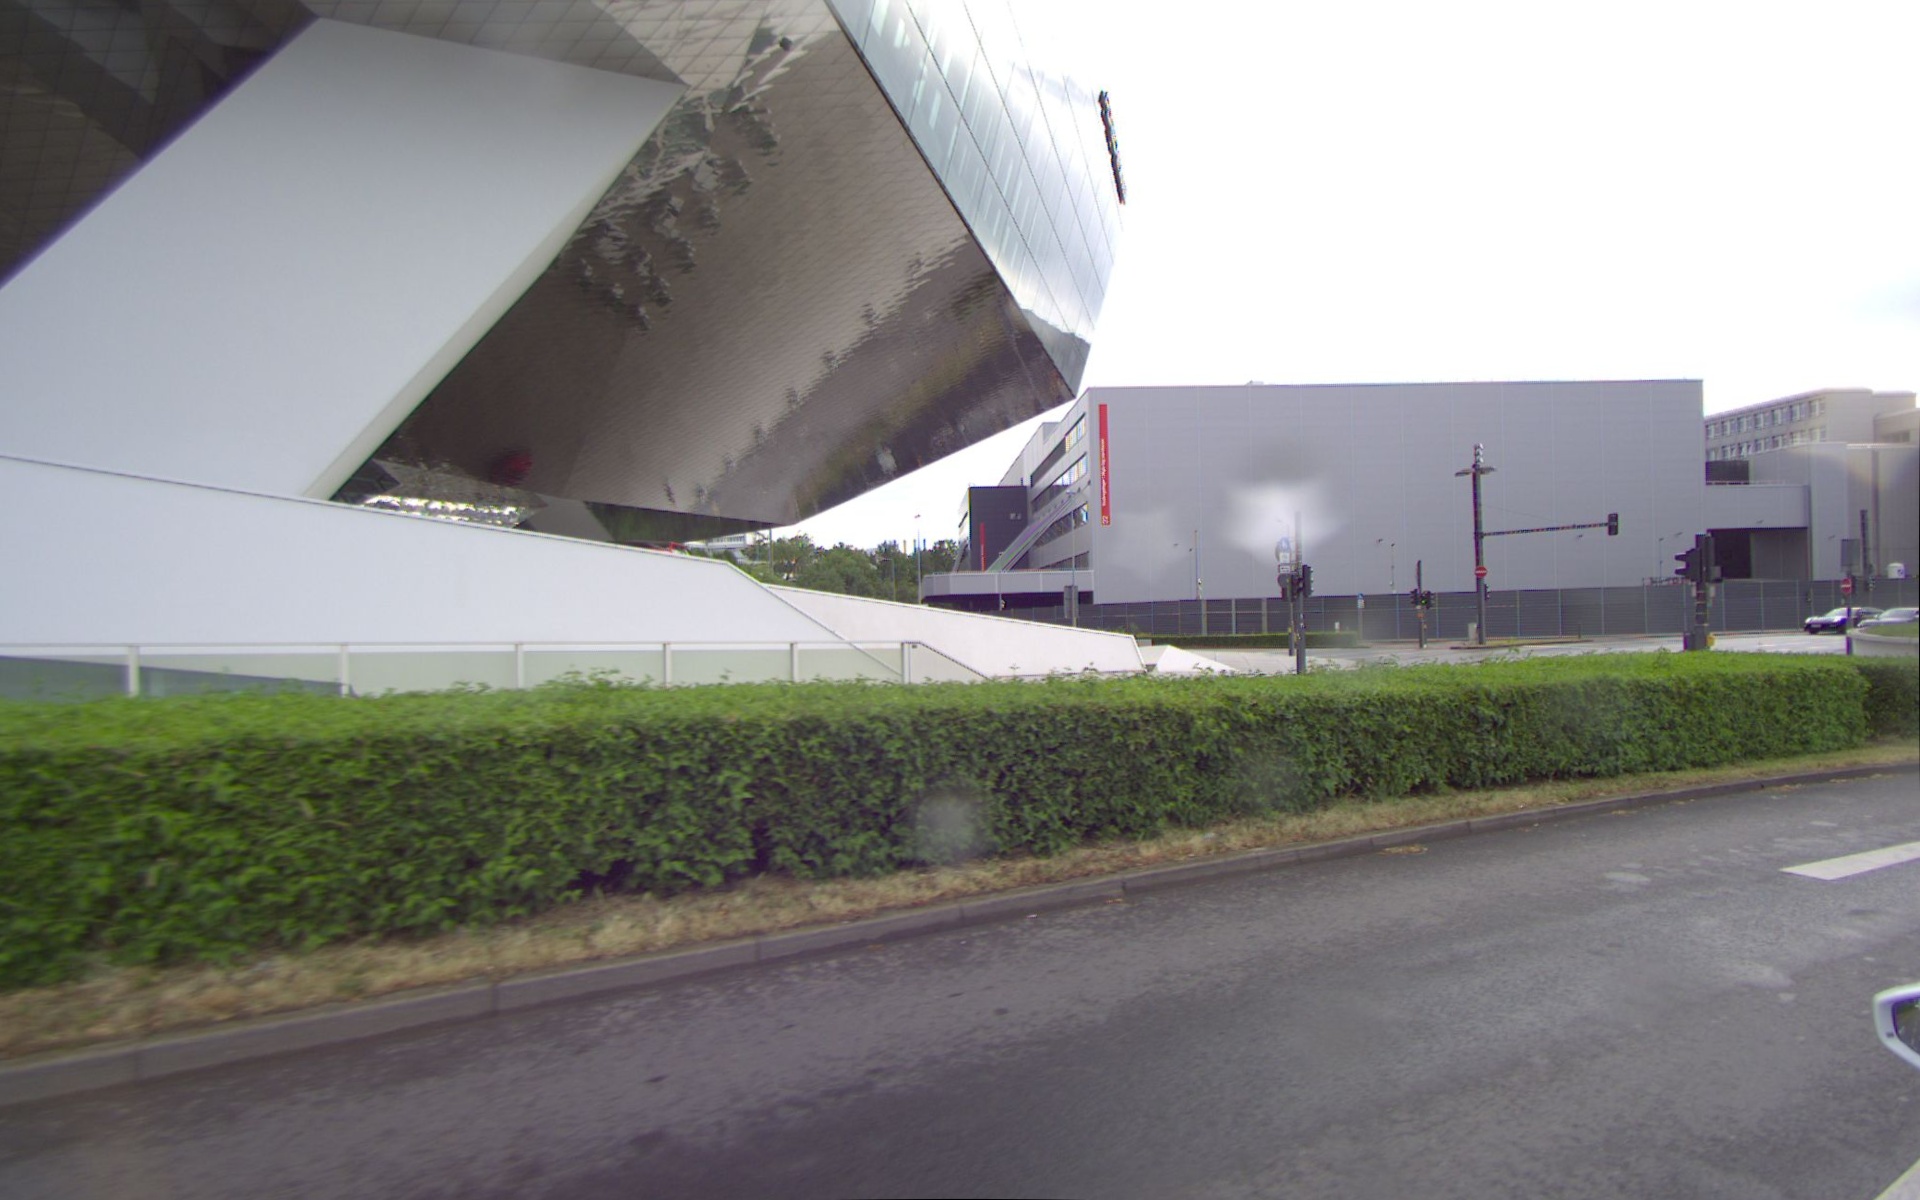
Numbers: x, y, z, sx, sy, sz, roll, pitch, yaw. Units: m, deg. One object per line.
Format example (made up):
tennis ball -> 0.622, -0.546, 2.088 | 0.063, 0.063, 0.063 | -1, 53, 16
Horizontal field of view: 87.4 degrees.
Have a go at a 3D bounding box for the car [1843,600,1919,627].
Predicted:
car -> 47.578, 0.680, 51.339 | 3.935, 1.356, 1.845 | 0, -1, -17

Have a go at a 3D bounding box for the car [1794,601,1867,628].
car -> 49.530, 0.811, 57.130 | 4.460, 1.491, 1.825 | 1, -1, -30

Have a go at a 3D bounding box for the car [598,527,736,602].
car -> -7.590, -0.851, 26.432 | 1.605, 1.258, 4.107 | 0, -8, 14
